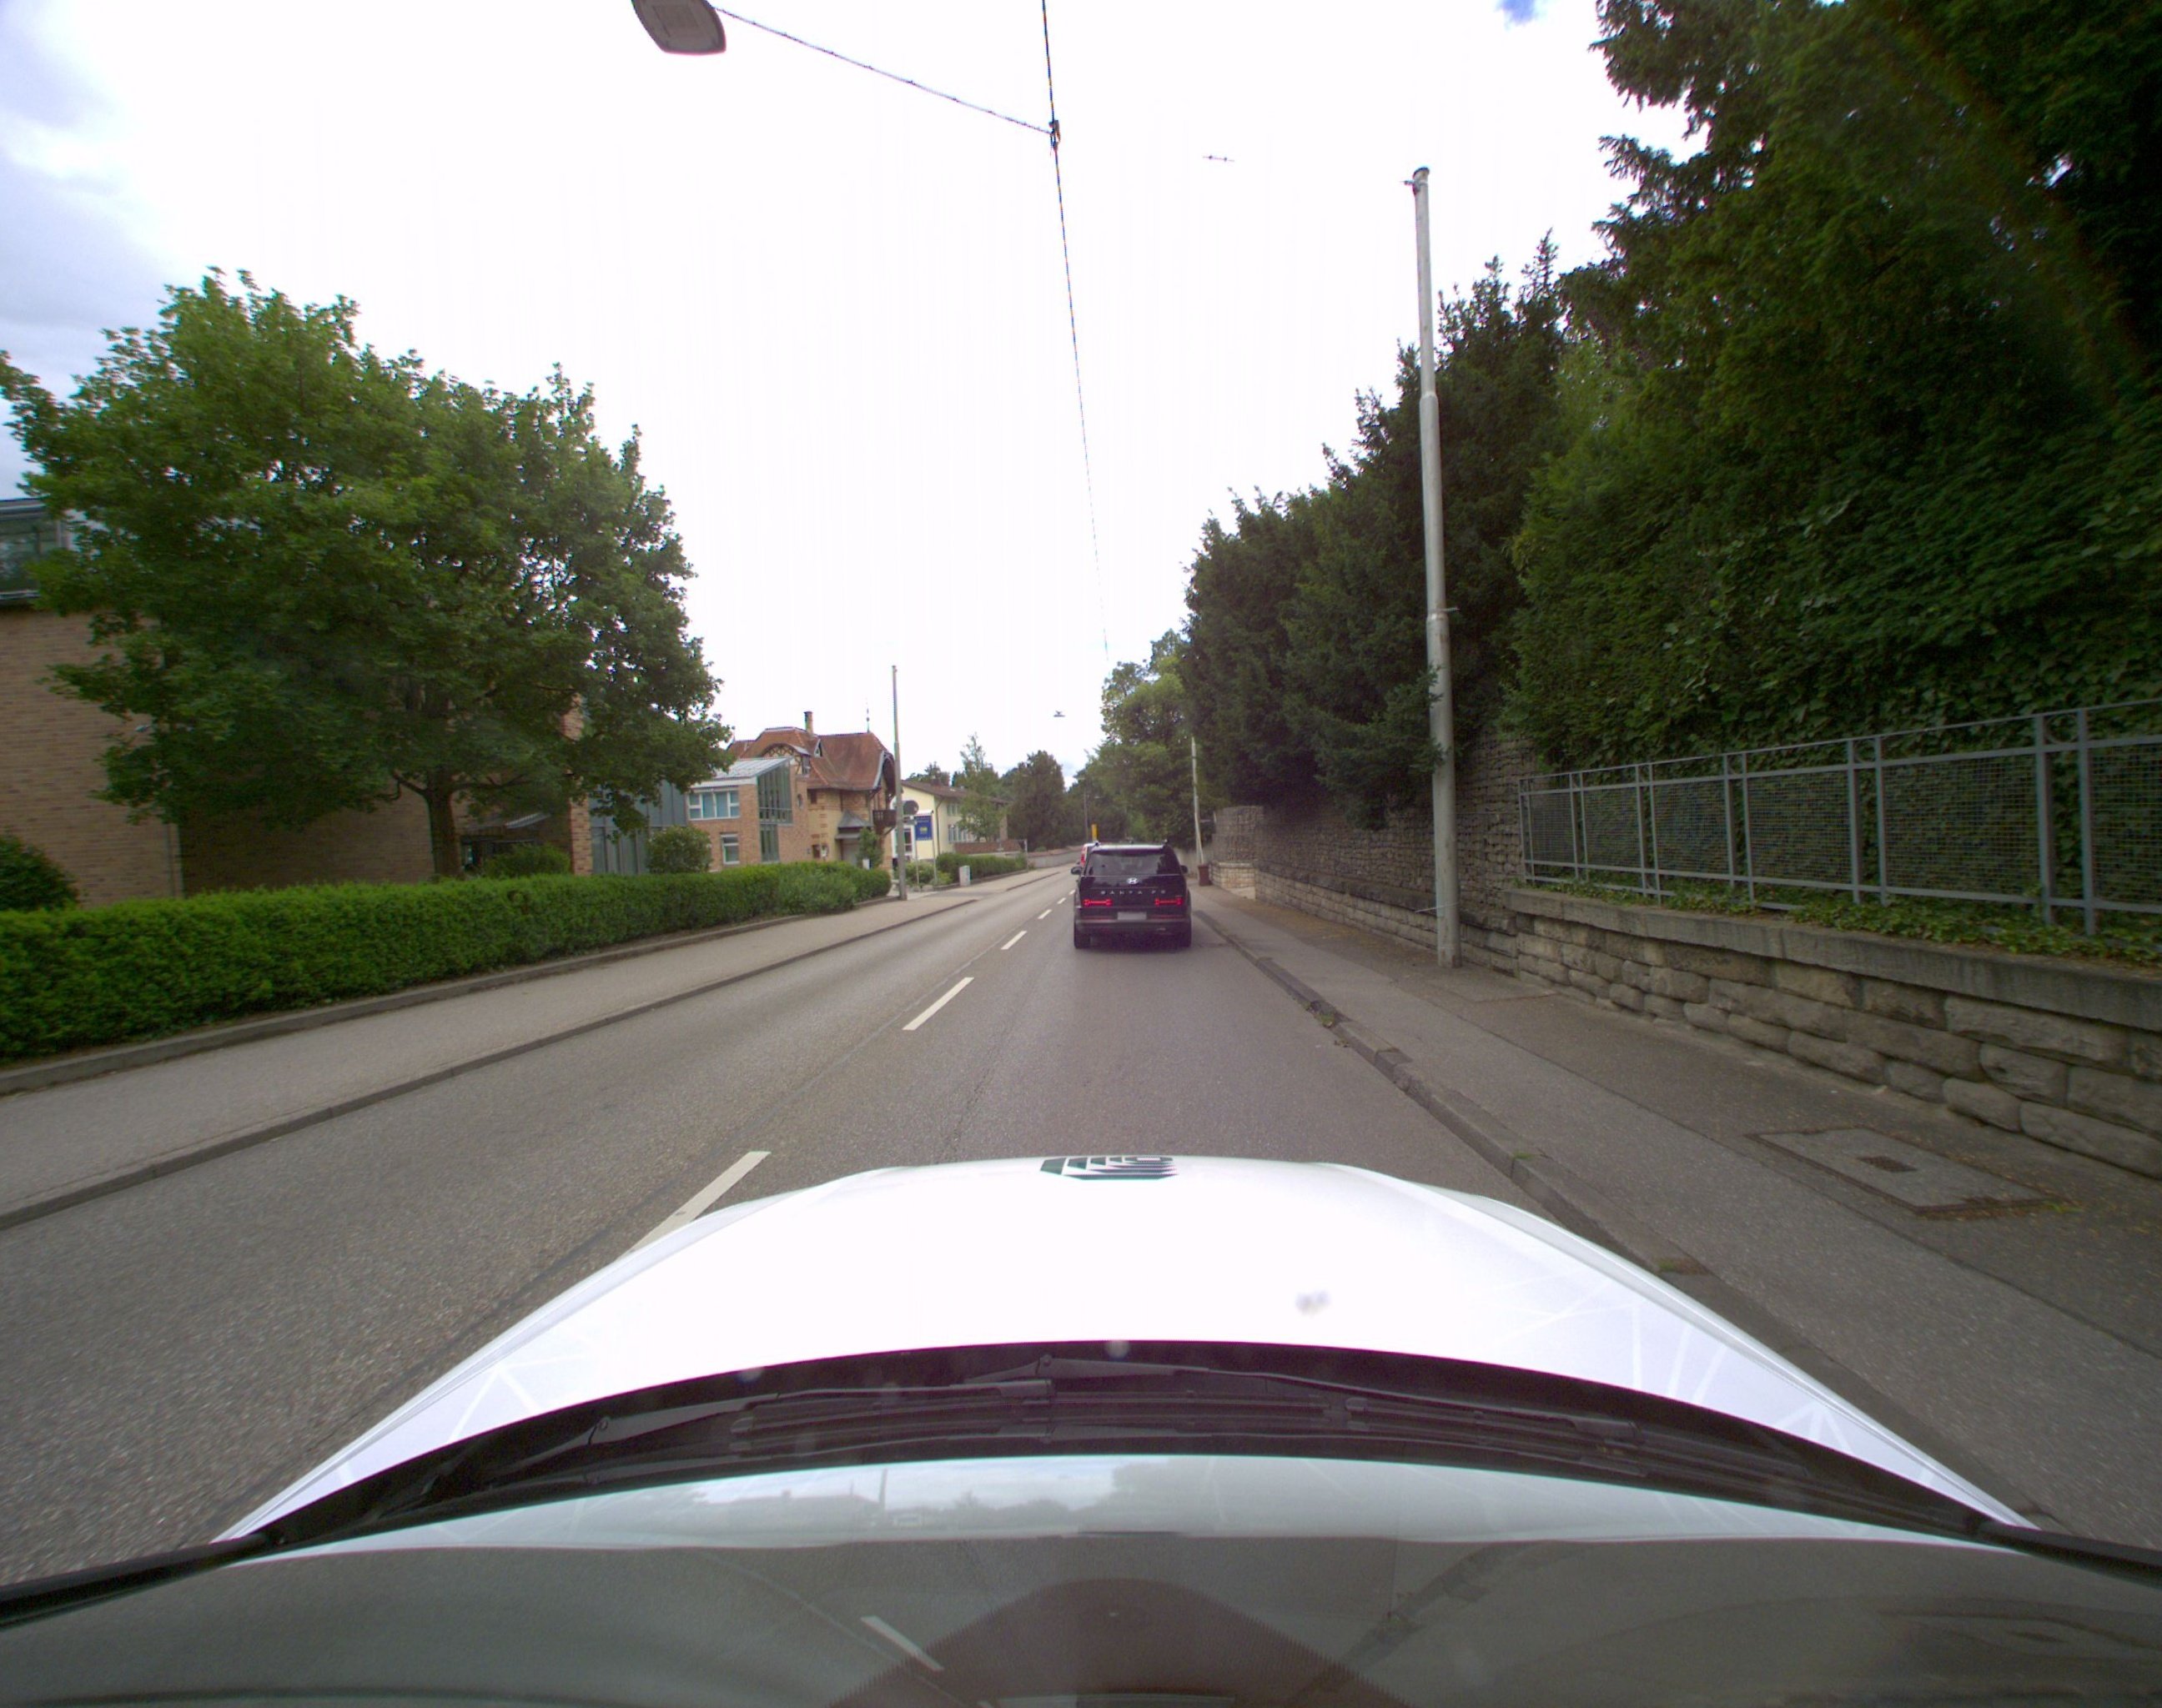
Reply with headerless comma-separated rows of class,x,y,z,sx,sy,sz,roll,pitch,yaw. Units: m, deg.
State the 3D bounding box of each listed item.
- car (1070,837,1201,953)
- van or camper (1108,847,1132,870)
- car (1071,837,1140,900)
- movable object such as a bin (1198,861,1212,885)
car,0.921,0.590,14.239,1.949,1.713,4.227,0,0,3
van or camper,3.770,0.382,77.891,1.665,2.007,3.950,-3,1,11
car,0.747,0.459,27.555,1.953,1.956,4.218,0,0,-3
movable object such as a bin,5.013,0.763,32.992,0.442,0.910,0.395,-6,-1,12
